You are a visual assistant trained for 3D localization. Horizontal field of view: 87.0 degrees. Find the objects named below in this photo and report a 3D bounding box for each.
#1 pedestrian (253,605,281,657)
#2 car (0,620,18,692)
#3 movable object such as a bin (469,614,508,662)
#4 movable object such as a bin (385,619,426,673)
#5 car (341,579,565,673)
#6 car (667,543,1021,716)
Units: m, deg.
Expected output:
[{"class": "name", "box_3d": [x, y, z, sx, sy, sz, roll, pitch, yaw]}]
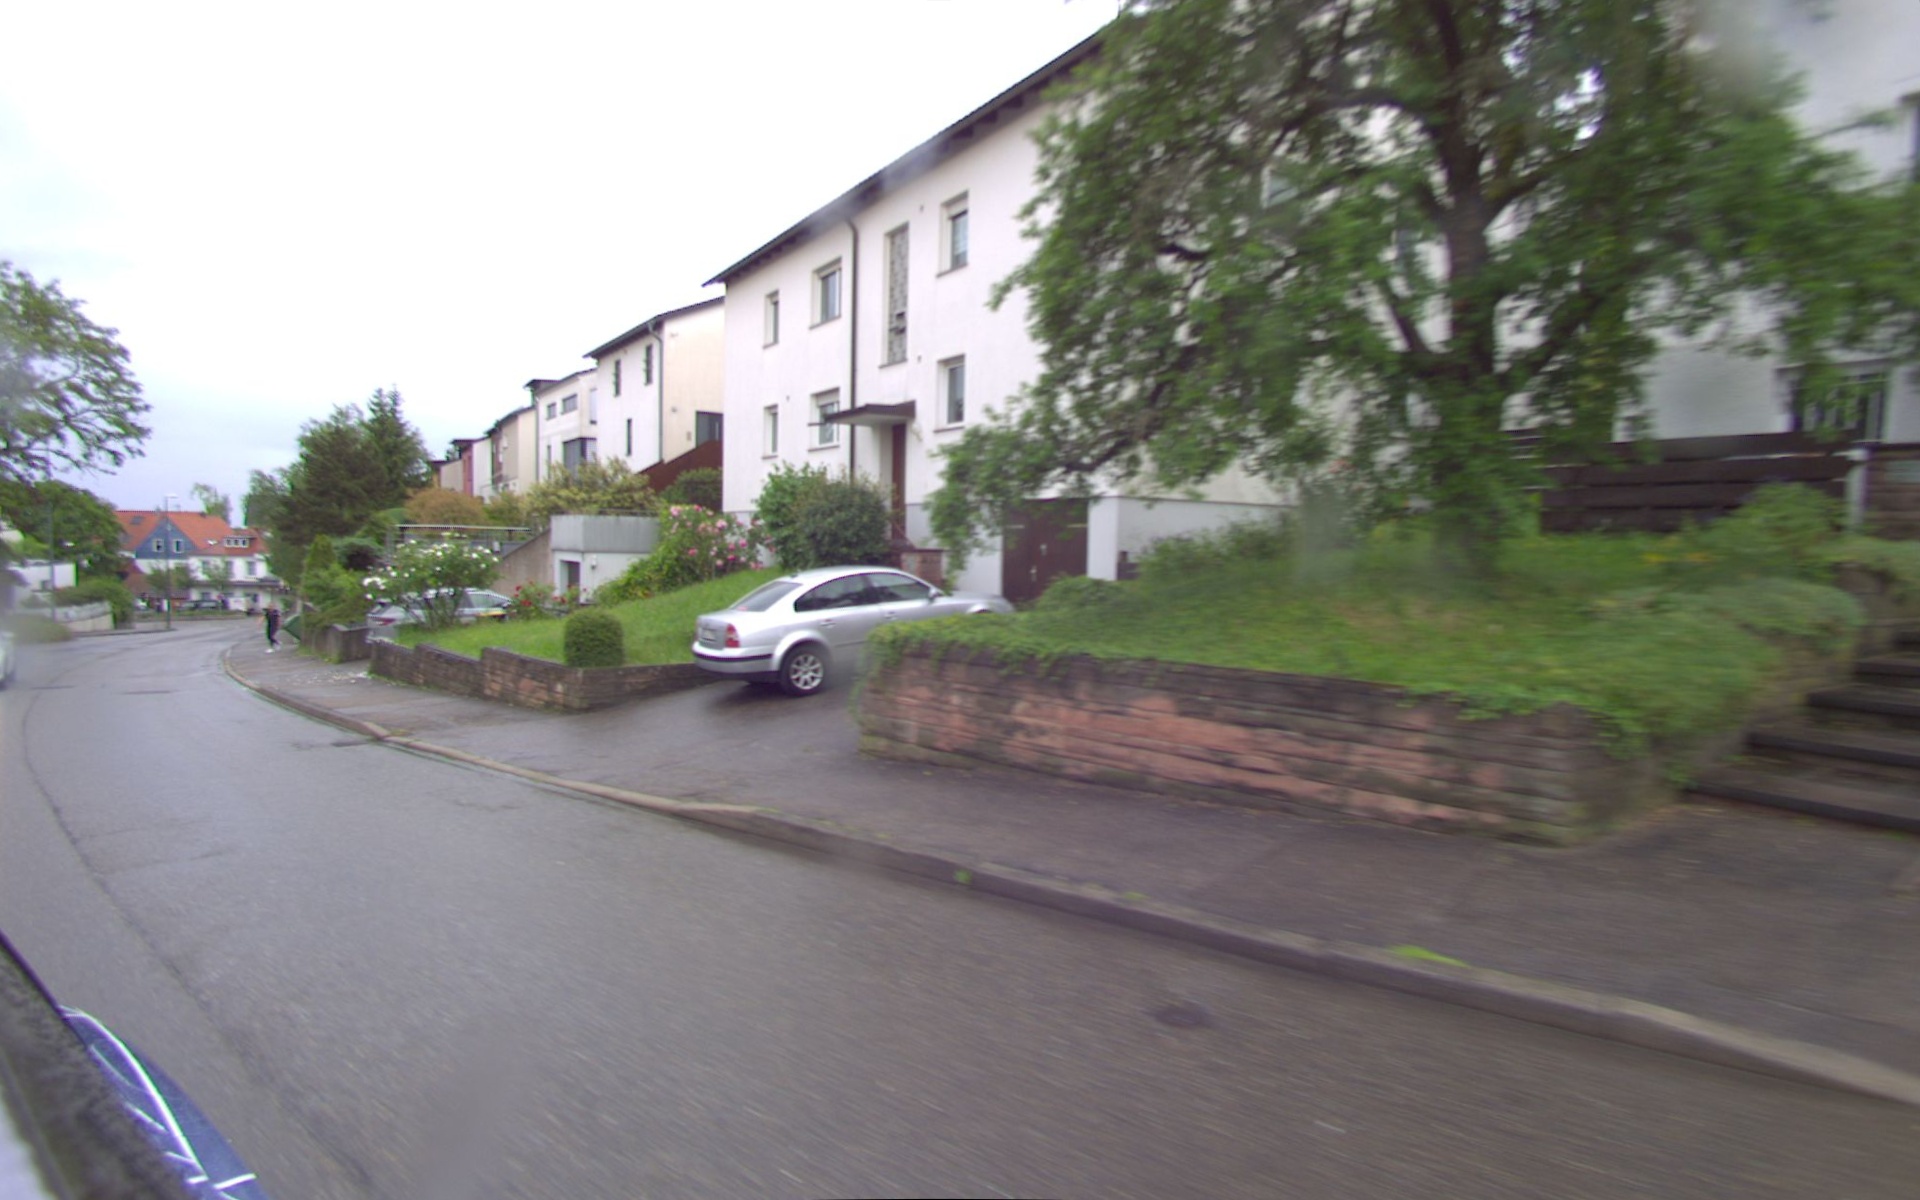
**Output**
[{"class": "pedestrian", "box_3d": [-22.608, 0.998, 33.017, 0.648, 1.661, 0.733, -1, -1, -42]}, {"class": "car", "box_3d": [-20.710, 1.131, 20.723, 1.835, 1.388, 4.188, -1, 0, -40]}, {"class": "movable object such as a bin", "box_3d": [-10.699, 0.846, 22.960, 0.531, 1.027, 0.711, -7, 4, -41]}, {"class": "movable object such as a bin", "box_3d": [-12.017, 0.990, 21.933, 0.531, 1.083, 0.744, -8, 5, -41]}, {"class": "car", "box_3d": [-12.294, 0.560, 24.690, 4.455, 1.625, 1.936, -9, 5, -39]}, {"class": "car", "box_3d": [-1.461, 0.270, 13.449, 4.198, 1.441, 1.771, -11, 7, -33]}]
